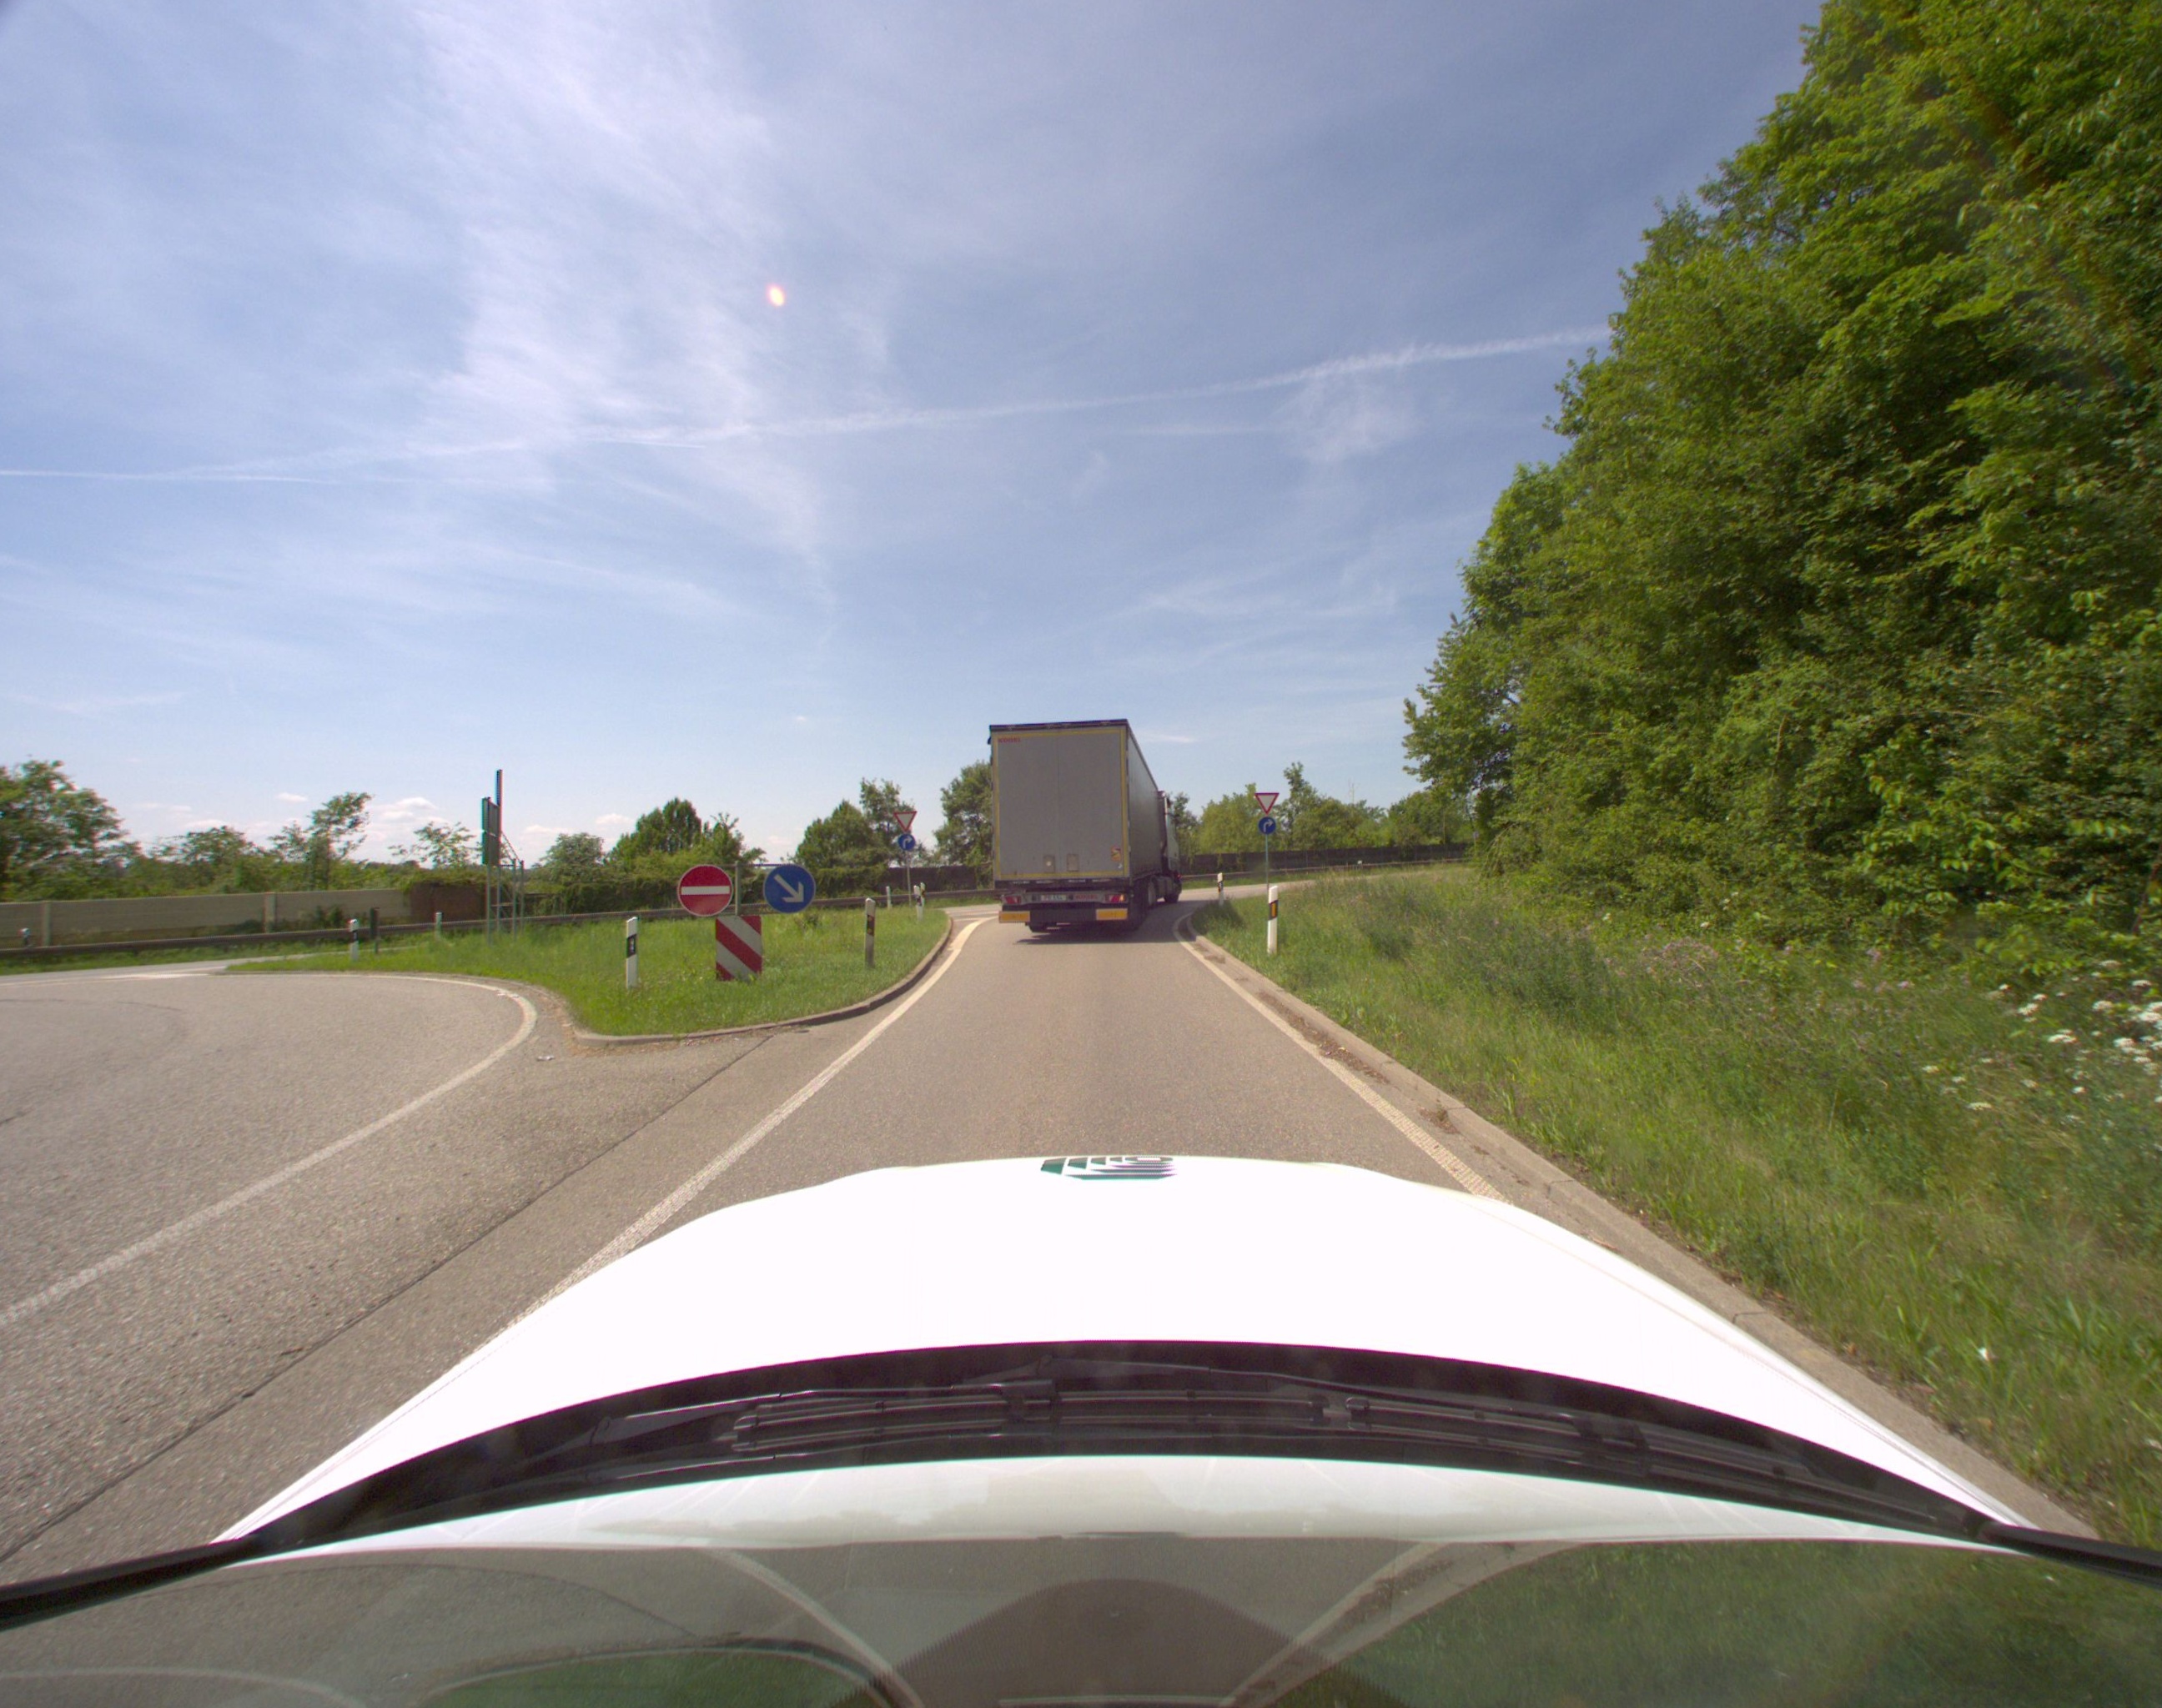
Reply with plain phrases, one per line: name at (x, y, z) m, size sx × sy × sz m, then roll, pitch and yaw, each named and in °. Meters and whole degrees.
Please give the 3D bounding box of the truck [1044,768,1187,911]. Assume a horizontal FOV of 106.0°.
truck at (1.460, -0.345, 28.250) m, size 3.128 × 4.225 × 7.153 m, roll -3°, pitch -2°, yaw 17°

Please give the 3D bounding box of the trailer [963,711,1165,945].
trailer at (0.351, -0.364, 21.069) m, size 3.010 × 4.035 × 13.380 m, roll -2°, pitch -1°, yaw 8°
